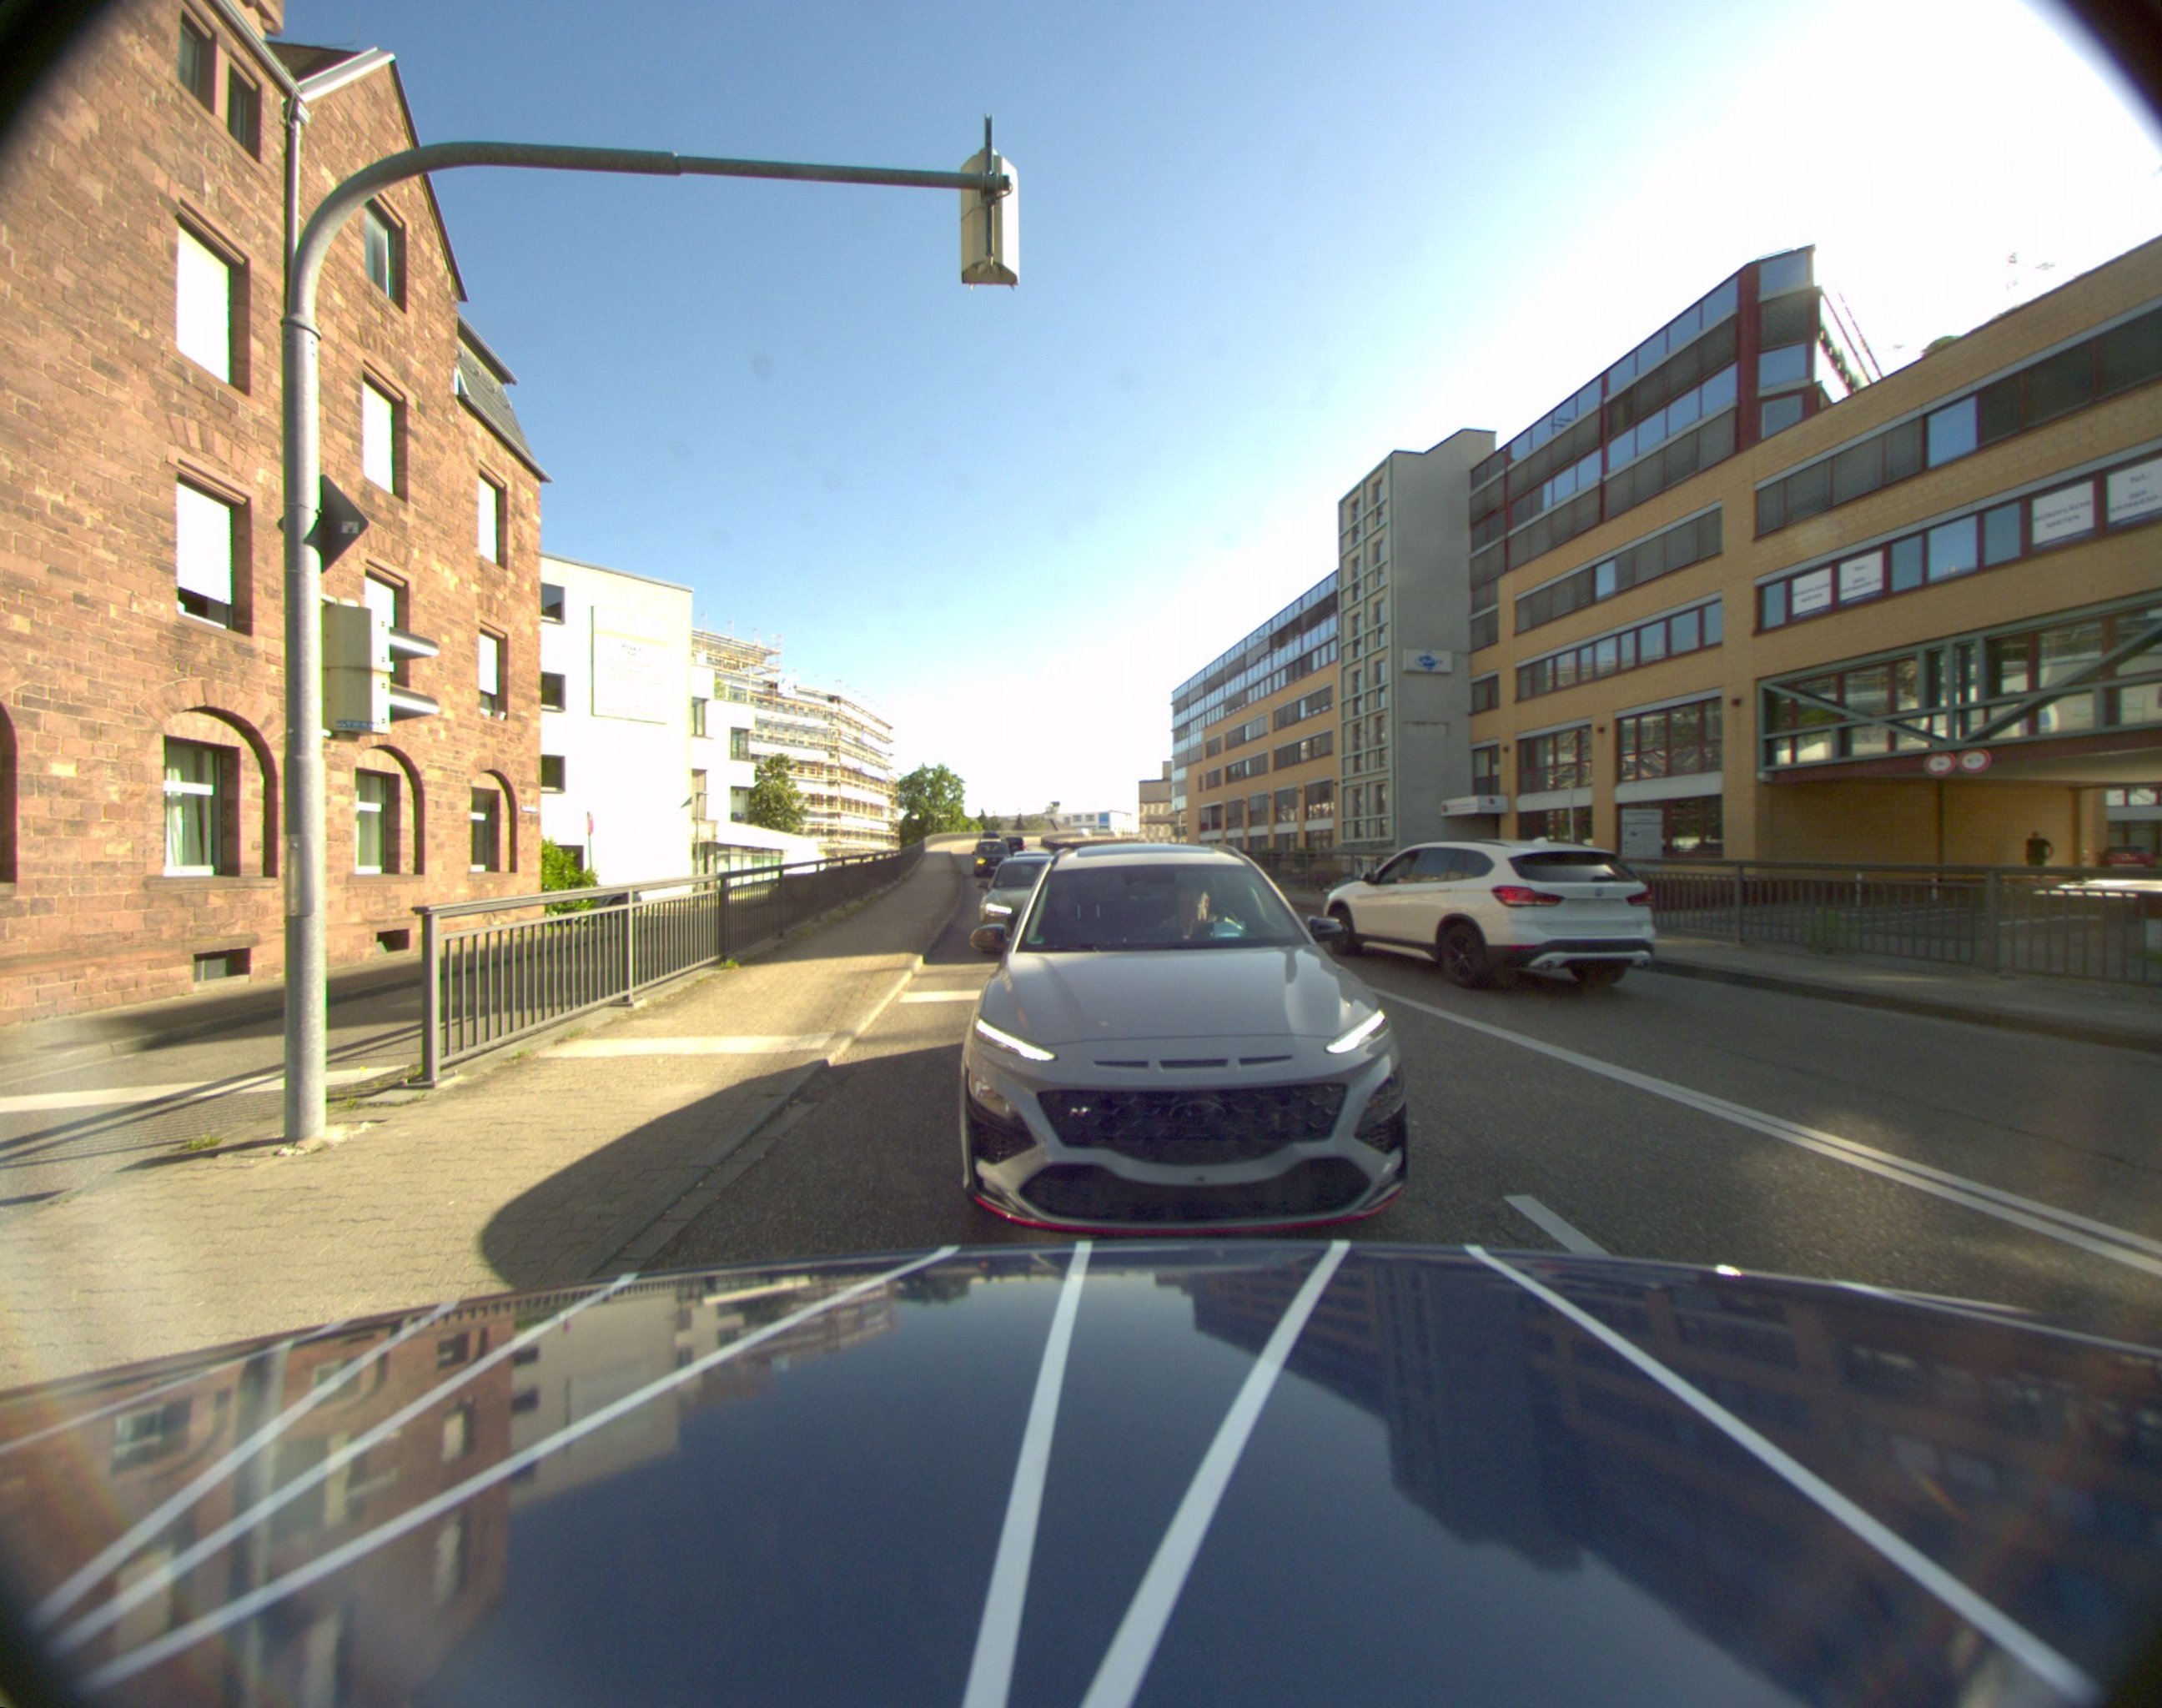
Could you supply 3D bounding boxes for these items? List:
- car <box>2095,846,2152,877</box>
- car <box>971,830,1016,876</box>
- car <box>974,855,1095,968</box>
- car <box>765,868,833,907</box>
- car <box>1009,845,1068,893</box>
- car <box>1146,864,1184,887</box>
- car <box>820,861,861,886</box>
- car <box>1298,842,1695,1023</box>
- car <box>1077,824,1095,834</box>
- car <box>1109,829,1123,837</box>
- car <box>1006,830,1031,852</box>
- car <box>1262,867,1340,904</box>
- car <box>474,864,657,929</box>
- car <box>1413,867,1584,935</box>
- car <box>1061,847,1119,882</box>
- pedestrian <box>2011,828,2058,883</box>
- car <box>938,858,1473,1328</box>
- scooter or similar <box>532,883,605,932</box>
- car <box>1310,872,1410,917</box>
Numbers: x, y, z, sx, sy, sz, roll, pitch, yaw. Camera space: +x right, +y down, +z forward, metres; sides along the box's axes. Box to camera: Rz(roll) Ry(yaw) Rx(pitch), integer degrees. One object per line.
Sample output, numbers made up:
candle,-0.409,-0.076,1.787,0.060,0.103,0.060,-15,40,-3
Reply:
car,53.702,0.392,39.198,3.159,1.564,1.639,0,-1,-38
car,-4.543,-0.099,38.902,1.911,2.201,4.593,-1,2,-11
car,-0.806,0.832,13.029,1.722,1.483,4.166,-1,2,-4
car,-13.041,1.496,35.418,1.850,1.422,4.678,-1,2,-6
car,-1.644,0.478,28.083,1.850,1.527,4.504,-1,2,-7
car,6.385,1.604,57.958,2.000,1.652,3.997,0,0,-7
car,-15.523,1.241,49.165,1.850,1.526,3.997,0,0,-7
car,4.618,0.700,9.473,1.840,1.644,4.623,0,1,-10
car,1.045,-4.794,147.862,1.812,1.791,5.129,0,0,22
car,7.571,-4.430,163.905,1.821,1.594,4.007,1,0,23
car,-6.031,-1.220,73.016,2.000,1.924,4.848,0,0,-9
car,10.289,1.425,35.872,1.826,1.594,4.353,0,0,-10
car,-16.977,1.304,25.210,1.823,1.757,4.658,1,2,42
car,12.408,1.305,23.008,1.957,1.747,4.683,-1,0,-11
car,0.334,0.448,34.889,1.826,1.494,4.446,0,0,-11
pedestrian,31.886,0.053,25.412,0.787,1.833,0.678,0,0,-12
car,0.475,0.856,4.769,1.849,1.561,4.220,-1,1,1
scooter or similar,-14.270,1.474,21.195,1.463,1.212,0.784,-3,1,-14
car,11.088,1.564,30.590,1.826,1.594,4.353,0,0,-10
